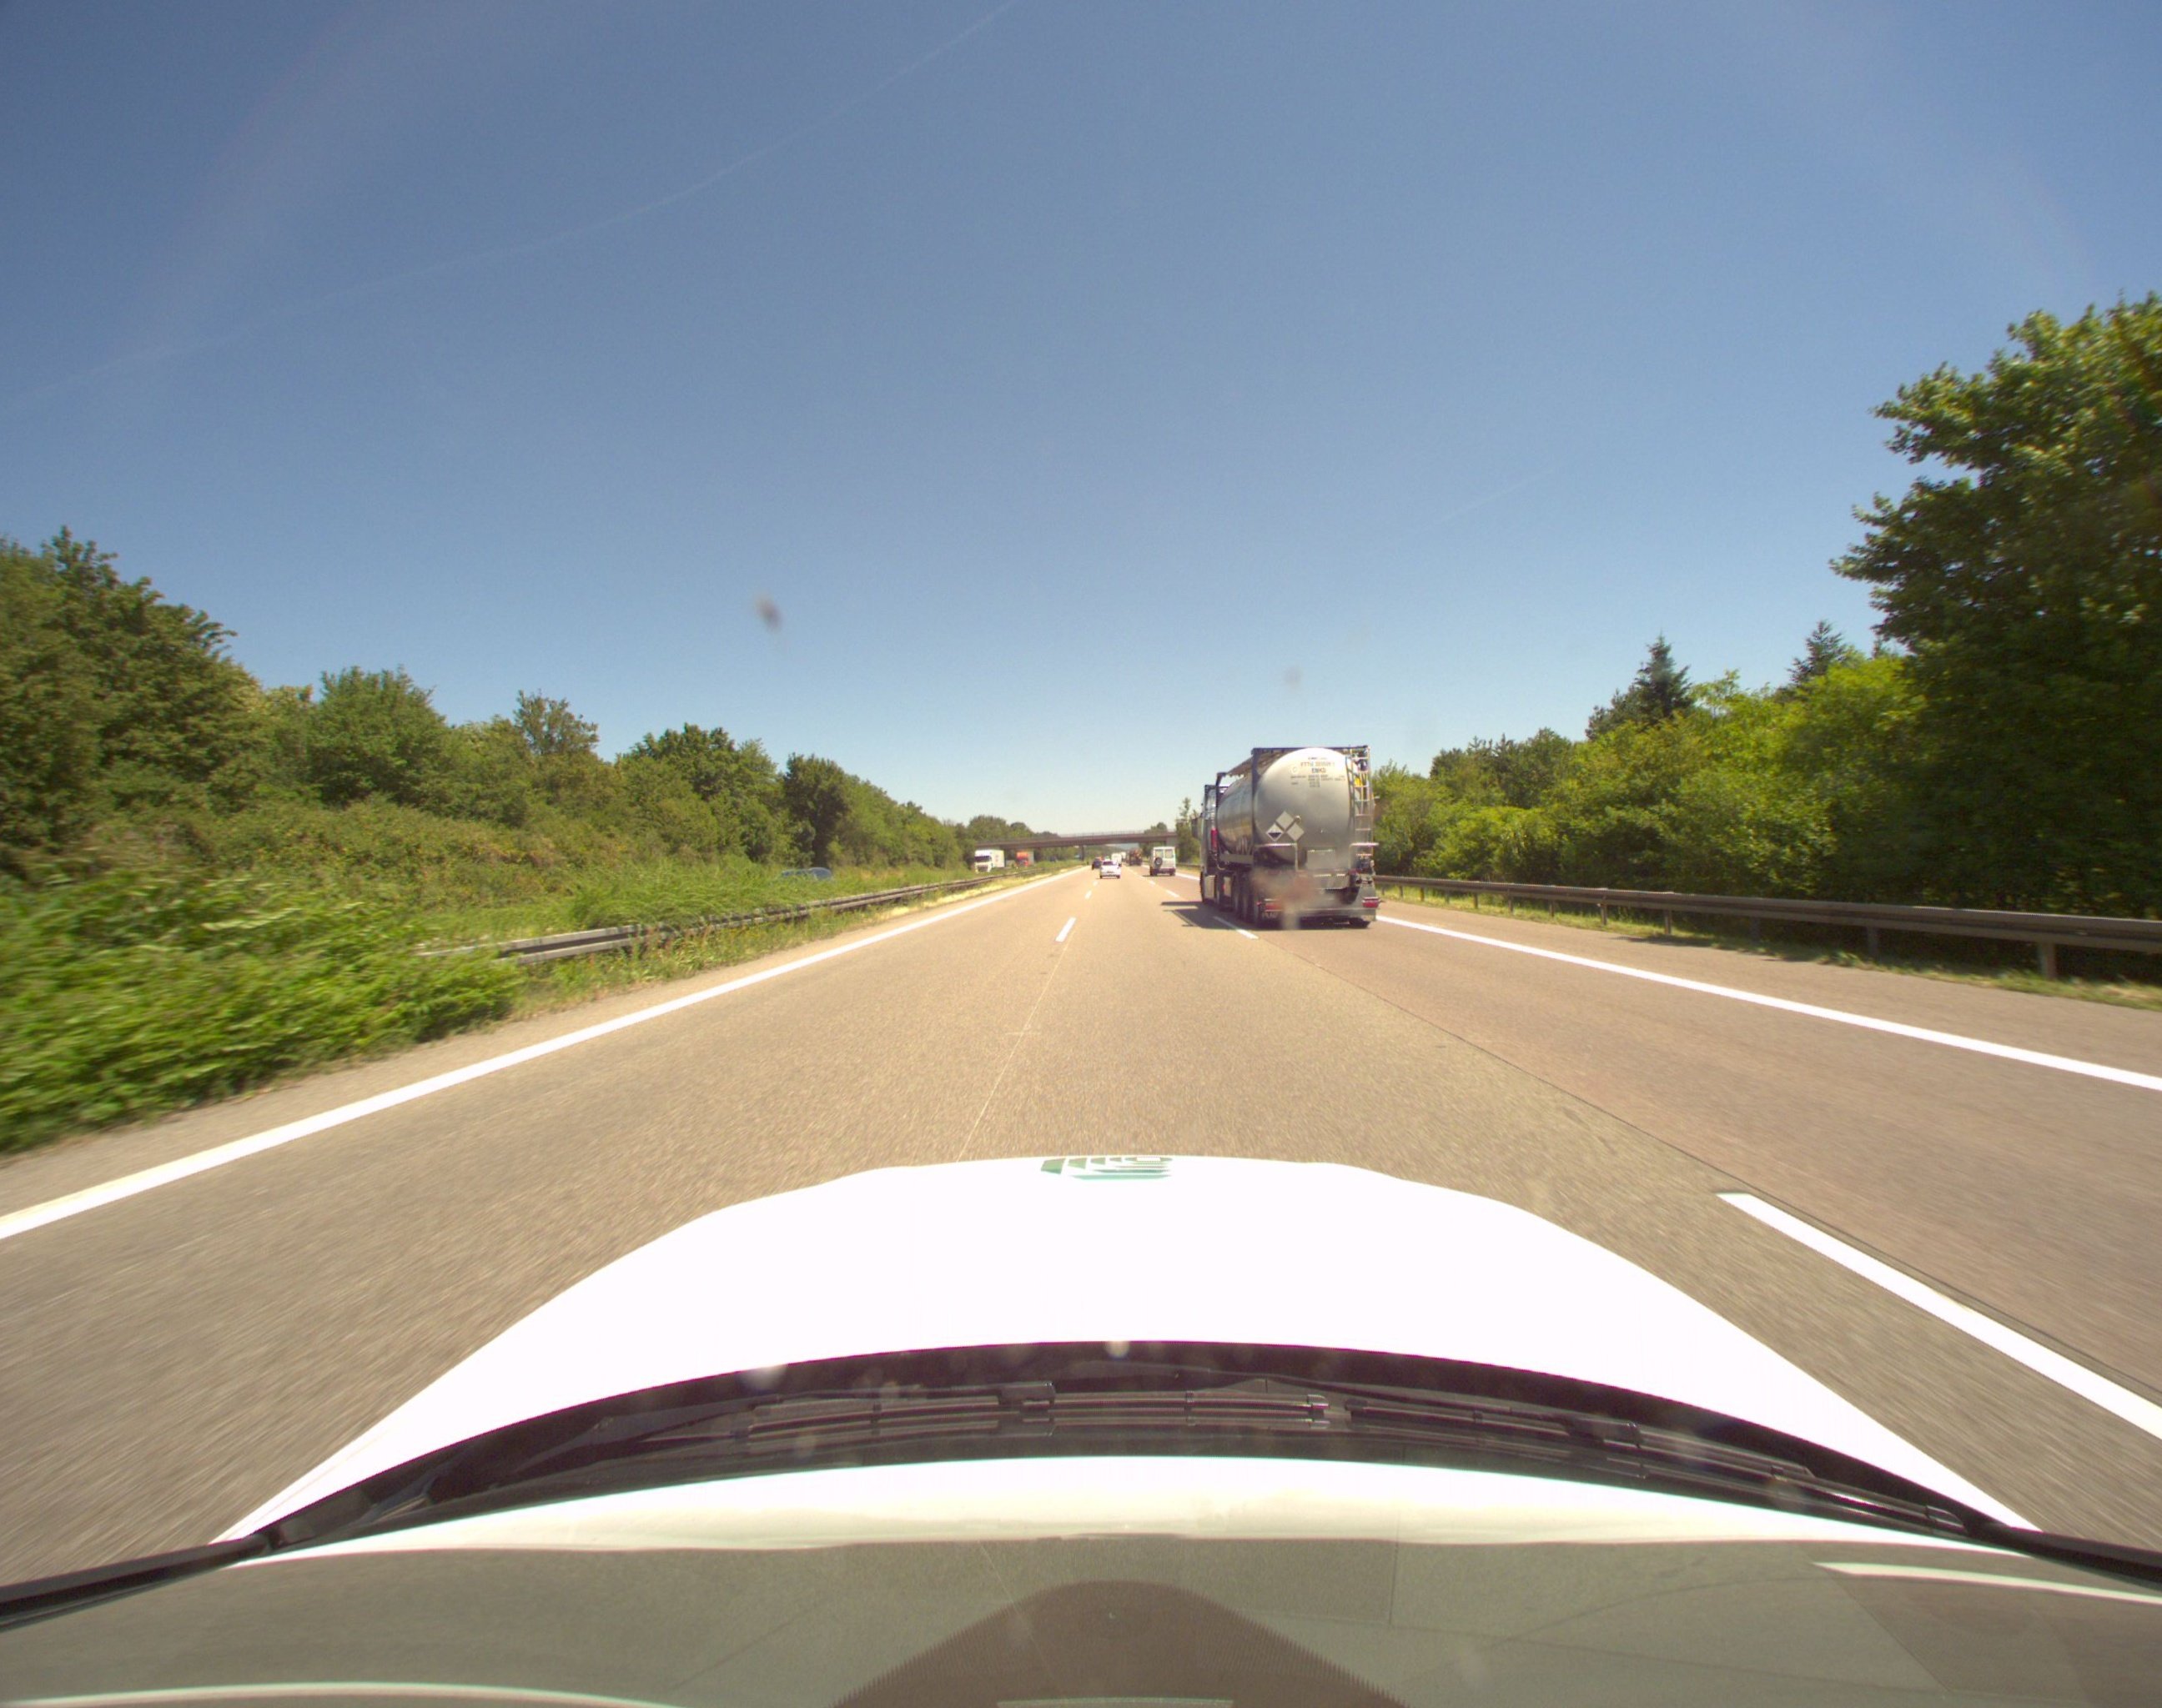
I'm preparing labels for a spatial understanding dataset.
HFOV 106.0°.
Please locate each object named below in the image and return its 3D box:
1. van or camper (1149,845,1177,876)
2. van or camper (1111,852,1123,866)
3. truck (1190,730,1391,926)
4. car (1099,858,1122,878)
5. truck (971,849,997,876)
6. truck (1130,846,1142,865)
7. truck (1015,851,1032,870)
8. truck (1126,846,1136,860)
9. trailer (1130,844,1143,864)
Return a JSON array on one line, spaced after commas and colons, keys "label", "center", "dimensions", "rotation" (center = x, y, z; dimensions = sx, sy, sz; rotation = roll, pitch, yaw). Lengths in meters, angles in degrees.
[{"label": "van or camper", "center": [7.570, 0.593, 75.623], "dimensions": [2.105, 2.703, 6.370], "rotation": [-1, -1, 2]}, {"label": "van or camper", "center": [6.992, 0.912, 157.198], "dimensions": [2.050, 2.622, 5.989], "rotation": [-1, -1, 3]}, {"label": "truck", "center": [5.229, -0.489, 23.552], "dimensions": [2.788, 4.046, 13.360], "rotation": [0, -1, 2]}, {"label": "car", "center": [2.431, 1.159, 68.221], "dimensions": [1.850, 1.652, 4.001], "rotation": [0, -1, 1]}, {"label": "truck", "center": [-15.460, 1.387, 130.272], "dimensions": [3.181, 4.149, 5.946], "rotation": [0, -1, 2]}, {"label": "truck", "center": [12.204, 0.391, 181.398], "dimensions": [2.659, 3.994, 6.641], "rotation": [-1, 0, 3]}, {"label": "truck", "center": [-12.920, 1.502, 183.412], "dimensions": [3.124, 4.231, 5.179], "rotation": [0, -1, 2]}, {"label": "truck", "center": [15.539, -0.095, 254.321], "dimensions": [3.065, 4.209, 16.858], "rotation": [0, -1, 4]}, {"label": "trailer", "center": [11.786, 0.060, 174.201], "dimensions": [2.642, 3.958, 13.646], "rotation": [-1, 0, 3]}]
